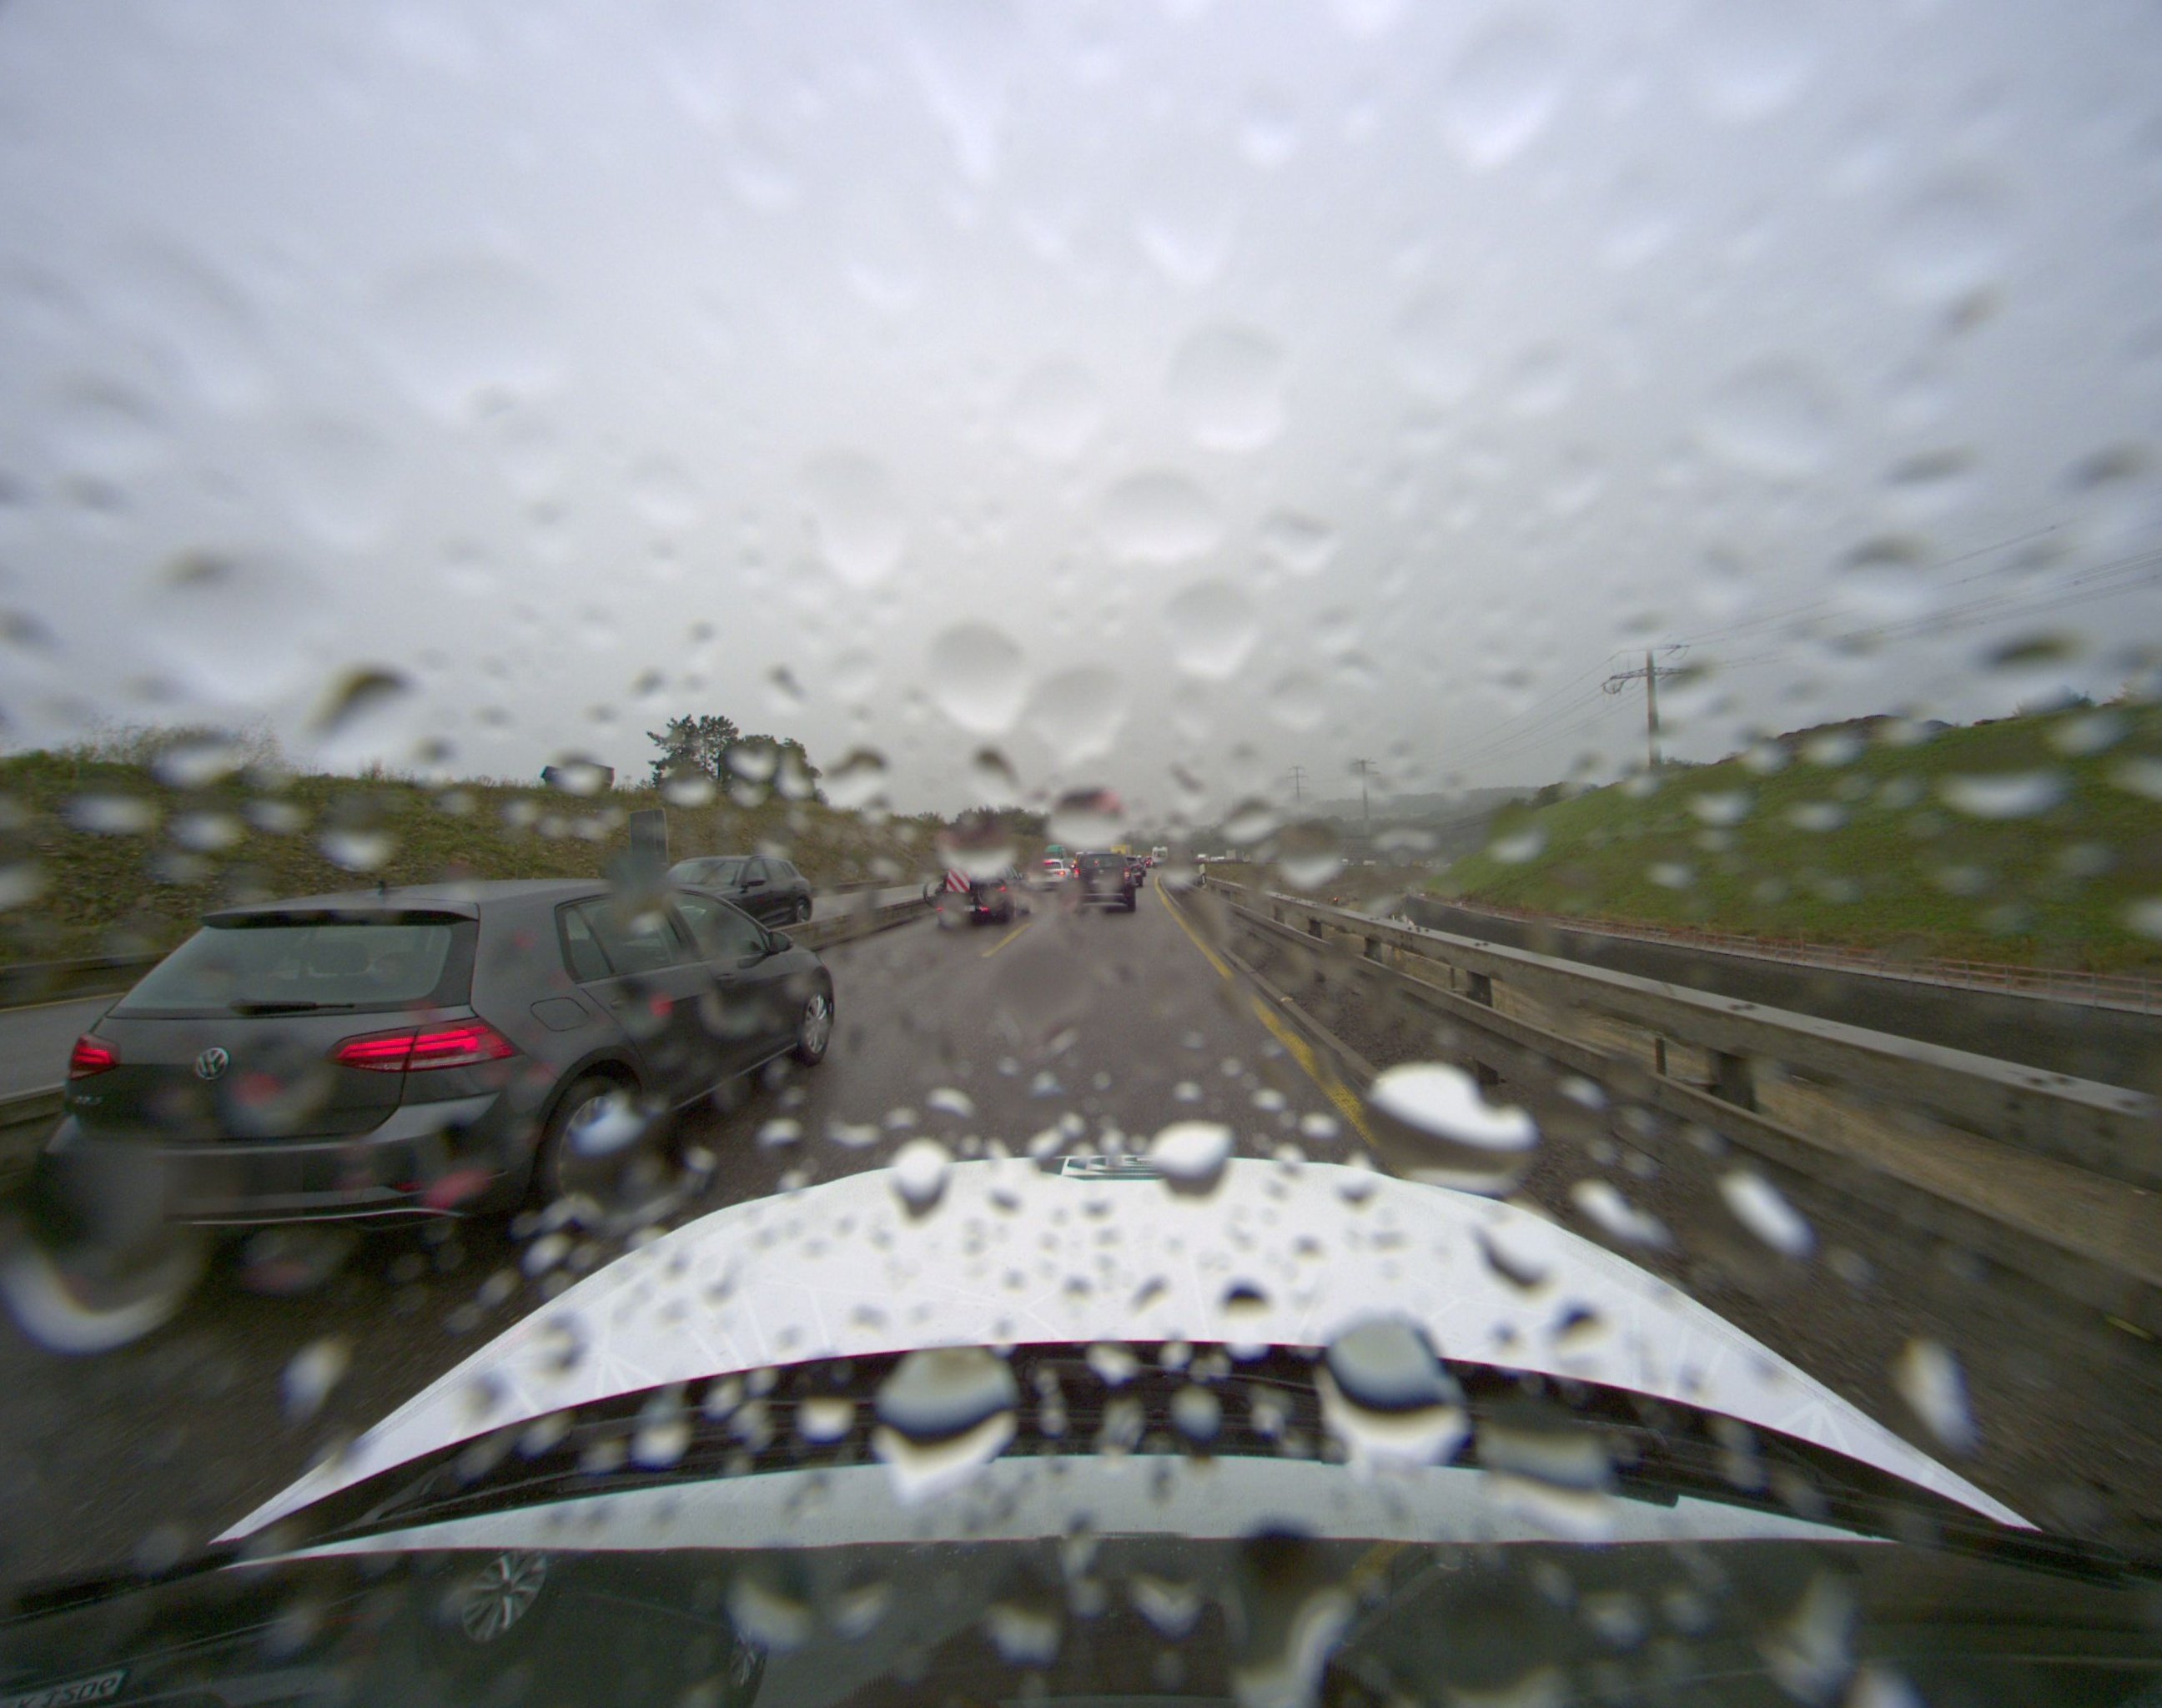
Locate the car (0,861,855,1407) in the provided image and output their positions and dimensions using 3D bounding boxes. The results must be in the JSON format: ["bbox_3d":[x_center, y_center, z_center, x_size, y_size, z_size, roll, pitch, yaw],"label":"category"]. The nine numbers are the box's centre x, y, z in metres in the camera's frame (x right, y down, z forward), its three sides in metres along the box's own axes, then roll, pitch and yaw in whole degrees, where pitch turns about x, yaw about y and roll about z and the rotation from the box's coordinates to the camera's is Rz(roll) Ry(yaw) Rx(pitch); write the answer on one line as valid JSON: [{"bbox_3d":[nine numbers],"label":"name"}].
[{"bbox_3d":[-2.753,0.839,4.540,1.608,1.506,4.369,-2,0,1],"label":"car"}]

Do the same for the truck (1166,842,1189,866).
[{"bbox_3d":[15.894,-0.013,133.886,3.180,3.761,8.534,0,0,10],"label":"truck"}]

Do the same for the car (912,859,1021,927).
[{"bbox_3d":[-2.662,0.872,19.742,1.820,1.476,3.781,-1,0,4],"label":"car"}]

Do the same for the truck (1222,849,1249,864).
[{"bbox_3d":[43.217,0.732,227.443,4.677,4.150,15.764,0,0,21],"label":"truck"}]

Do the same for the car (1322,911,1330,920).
[{"bbox_3d":[67.457,16.993,224.321,1.977,2.013,4.020,0,0,20],"label":"car"}]

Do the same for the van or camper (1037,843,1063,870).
[{"bbox_3d":[-3.283,0.292,87.891,2.091,2.818,5.950,0,0,4],"label":"van or camper"}]

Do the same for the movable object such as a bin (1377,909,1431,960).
[{"bbox_3d":[27.516,6.816,69.574,3.199,3.867,4.127,1,1,4],"label":"movable object such as a bin"}]

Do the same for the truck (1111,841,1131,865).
[{"bbox_3d":[6.949,-0.167,142.073,2.753,3.996,8.440,-1,0,7],"label":"truck"}]

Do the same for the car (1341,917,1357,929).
[{"bbox_3d":[53.088,13.766,161.534,2.353,2.013,4.007,0,0,7],"label":"car"}]

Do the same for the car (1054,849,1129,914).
[{"bbox_3d":[0.376,0.729,22.928,1.796,1.646,3.782,-1,0,5],"label":"car"}]

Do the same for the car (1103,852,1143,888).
[{"bbox_3d":[2.146,0.769,40.348,1.859,1.708,4.005,0,0,5],"label":"car"}]

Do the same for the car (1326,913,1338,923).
[{"bbox_3d":[55.291,14.085,179.213,1.982,1.816,4.010,-1,-1,9],"label":"car"}]

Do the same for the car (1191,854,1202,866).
[{"bbox_3d":[20.041,1.045,140.938,1.764,1.916,4.011,0,0,10],"label":"car"}]

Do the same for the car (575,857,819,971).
[{"bbox_3d":[-6.394,0.880,14.337,1.805,1.593,4.903,-2,0,1],"label":"car"}]

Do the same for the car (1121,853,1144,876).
[{"bbox_3d":[3.804,0.760,60.465,1.525,1.640,4.012,0,0,0],"label":"car"}]

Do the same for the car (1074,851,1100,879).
[{"bbox_3d":[0.471,0.769,57.514,1.653,1.880,4.022,0,0,3],"label":"car"}]

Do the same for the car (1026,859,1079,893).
[{"bbox_3d":[-1.276,0.974,37.982,1.858,1.460,4.556,0,0,6],"label":"car"}]

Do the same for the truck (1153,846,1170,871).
[{"bbox_3d":[10.515,0.591,106.884,2.139,3.166,6.469,0,0,5],"label":"truck"}]
